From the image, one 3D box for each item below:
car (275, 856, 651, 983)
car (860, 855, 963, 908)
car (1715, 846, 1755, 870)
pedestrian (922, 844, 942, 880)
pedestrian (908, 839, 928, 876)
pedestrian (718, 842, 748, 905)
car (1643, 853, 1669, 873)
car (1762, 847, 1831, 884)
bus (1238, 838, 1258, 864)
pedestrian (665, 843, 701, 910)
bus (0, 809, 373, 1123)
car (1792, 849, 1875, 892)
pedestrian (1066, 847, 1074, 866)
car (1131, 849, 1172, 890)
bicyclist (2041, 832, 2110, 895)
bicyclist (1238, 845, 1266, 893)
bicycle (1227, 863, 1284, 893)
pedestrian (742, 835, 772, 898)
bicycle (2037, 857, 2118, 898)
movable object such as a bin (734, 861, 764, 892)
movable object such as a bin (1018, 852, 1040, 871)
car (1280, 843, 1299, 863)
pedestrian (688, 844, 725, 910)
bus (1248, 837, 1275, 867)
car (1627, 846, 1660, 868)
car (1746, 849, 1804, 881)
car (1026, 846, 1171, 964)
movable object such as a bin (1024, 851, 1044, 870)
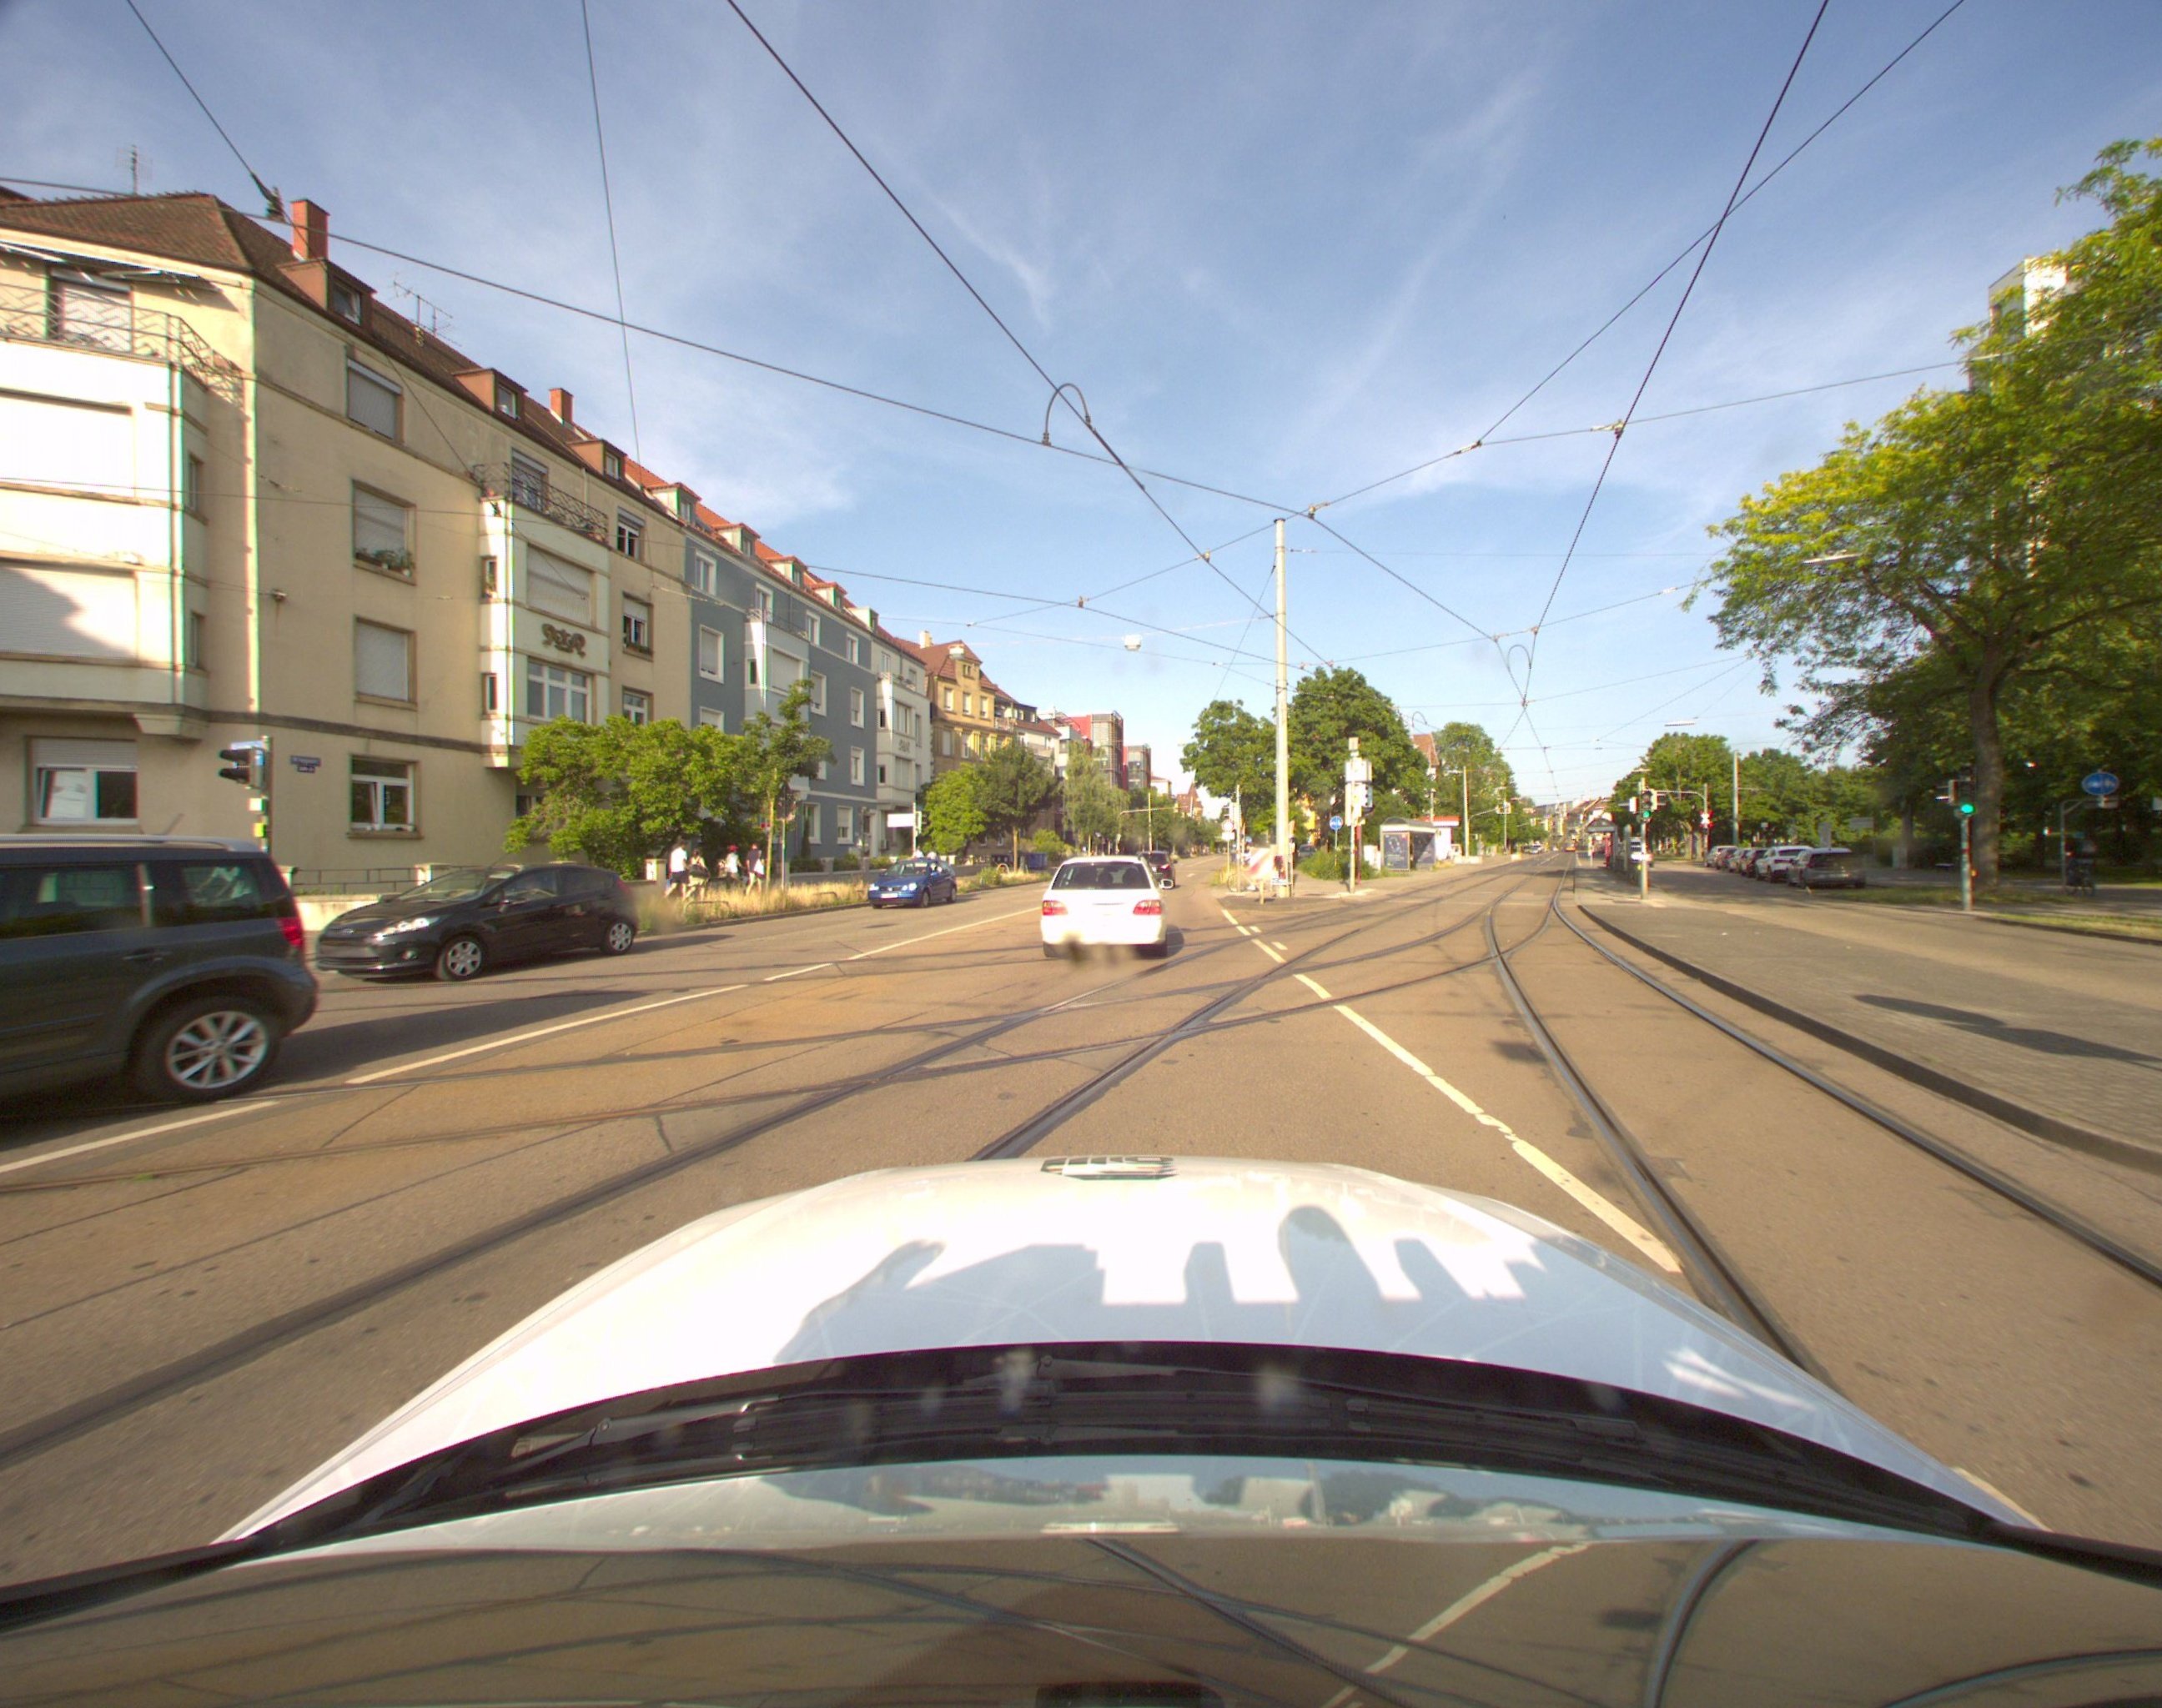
[{"bbox_3d":[-8.169,0.751,11.305,1.677,1.420,4.013,-1,0,12],"label":"car"},{"bbox_3d":[-5.039,0.774,24.748,1.679,1.441,4.011,-1,1,10],"label":"car"},{"bbox_3d":[44.961,0.269,56.059,1.835,1.515,4.026,-2,0,35],"label":"car"},{"bbox_3d":[-7.192,0.384,39.335,0.634,1.751,0.914,-1,0,9],"label":"pedestrian"},{"bbox_3d":[-7.881,0.151,39.483,0.634,1.751,0.914,-1,0,9],"label":"pedestrian"},{"bbox_3d":[-10.609,0.588,24.841,0.581,1.881,0.628,0,0,10],"label":"pedestrian"},{"bbox_3d":[60.936,0.936,86.362,1.974,2.013,4.025,2,0,32],"label":"car"},{"bbox_3d":[31.829,0.500,36.327,1.835,1.515,4.026,-2,0,35],"label":"car"},{"bbox_3d":[17.286,-0.251,84.387,1.788,2.555,4.009,2,0,8],"label":"bus"},{"bbox_3d":[-11.359,0.635,23.273,0.654,1.881,0.628,0,0,10],"label":"pedestrian"},{"bbox_3d":[-6.594,0.592,4.152,1.831,1.636,4.175,0,0,14],"label":"bus"},{"bbox_3d":[29.034,0.624,31.549,1.835,1.515,4.026,-2,0,36],"label":"car"},{"bbox_3d":[-1.011,0.218,73.328,0.634,1.751,0.609,-1,0,9],"label":"pedestrian"},{"bbox_3d":[3.038,0.596,34.644,1.633,1.600,3.821,1,0,6],"label":"car"},{"bbox_3d":[28.711,0.270,23.541,0.713,1.745,1.146,-3,-1,21],"label":"bicyclist"},{"bbox_3d":[6.203,0.527,29.573,0.895,1.699,0.734,-2,0,6],"label":"bicyclist"},{"bbox_3d":[6.317,0.882,29.567,1.904,0.994,0.728,-2,0,6],"label":"bicycle"},{"bbox_3d":[-9.812,0.368,24.695,0.580,1.881,0.628,0,0,11],"label":"pedestrian"},{"bbox_3d":[28.759,0.654,23.542,0.635,1.088,1.742,-3,0,20],"label":"bicycle"},{"bbox_3d":[-10.430,0.701,25.563,0.579,0.947,0.666,0,0,15],"label":"movable object such as a bin"},{"bbox_3d":[-3.978,0.577,62.307,1.598,1.421,1.084,-1,0,-1],"label":"movable object such as a bin"},{"bbox_3d":[20.598,-0.087,80.545,1.734,1.873,4.014,0,0,13],"label":"car"},{"bbox_3d":[-10.678,0.633,23.210,0.669,1.848,0.652,0,0,13],"label":"pedestrian"},{"bbox_3d":[15.226,-0.174,68.738,1.788,2.413,4.008,2,0,7],"label":"bus"},{"bbox_3d":[41.798,0.216,60.576,1.818,1.600,3.839,1,0,32],"label":"car"},{"bbox_3d":[35.385,0.536,41.601,1.835,1.515,4.026,-2,0,35],"label":"car"},{"bbox_3d":[0.436,0.657,12.658,1.825,1.501,3.823,1,0,7],"label":"car"},{"bbox_3d":[-3.660,0.491,63.439,1.529,1.421,1.084,-1,0,-1],"label":"movable object such as a bin"}]
